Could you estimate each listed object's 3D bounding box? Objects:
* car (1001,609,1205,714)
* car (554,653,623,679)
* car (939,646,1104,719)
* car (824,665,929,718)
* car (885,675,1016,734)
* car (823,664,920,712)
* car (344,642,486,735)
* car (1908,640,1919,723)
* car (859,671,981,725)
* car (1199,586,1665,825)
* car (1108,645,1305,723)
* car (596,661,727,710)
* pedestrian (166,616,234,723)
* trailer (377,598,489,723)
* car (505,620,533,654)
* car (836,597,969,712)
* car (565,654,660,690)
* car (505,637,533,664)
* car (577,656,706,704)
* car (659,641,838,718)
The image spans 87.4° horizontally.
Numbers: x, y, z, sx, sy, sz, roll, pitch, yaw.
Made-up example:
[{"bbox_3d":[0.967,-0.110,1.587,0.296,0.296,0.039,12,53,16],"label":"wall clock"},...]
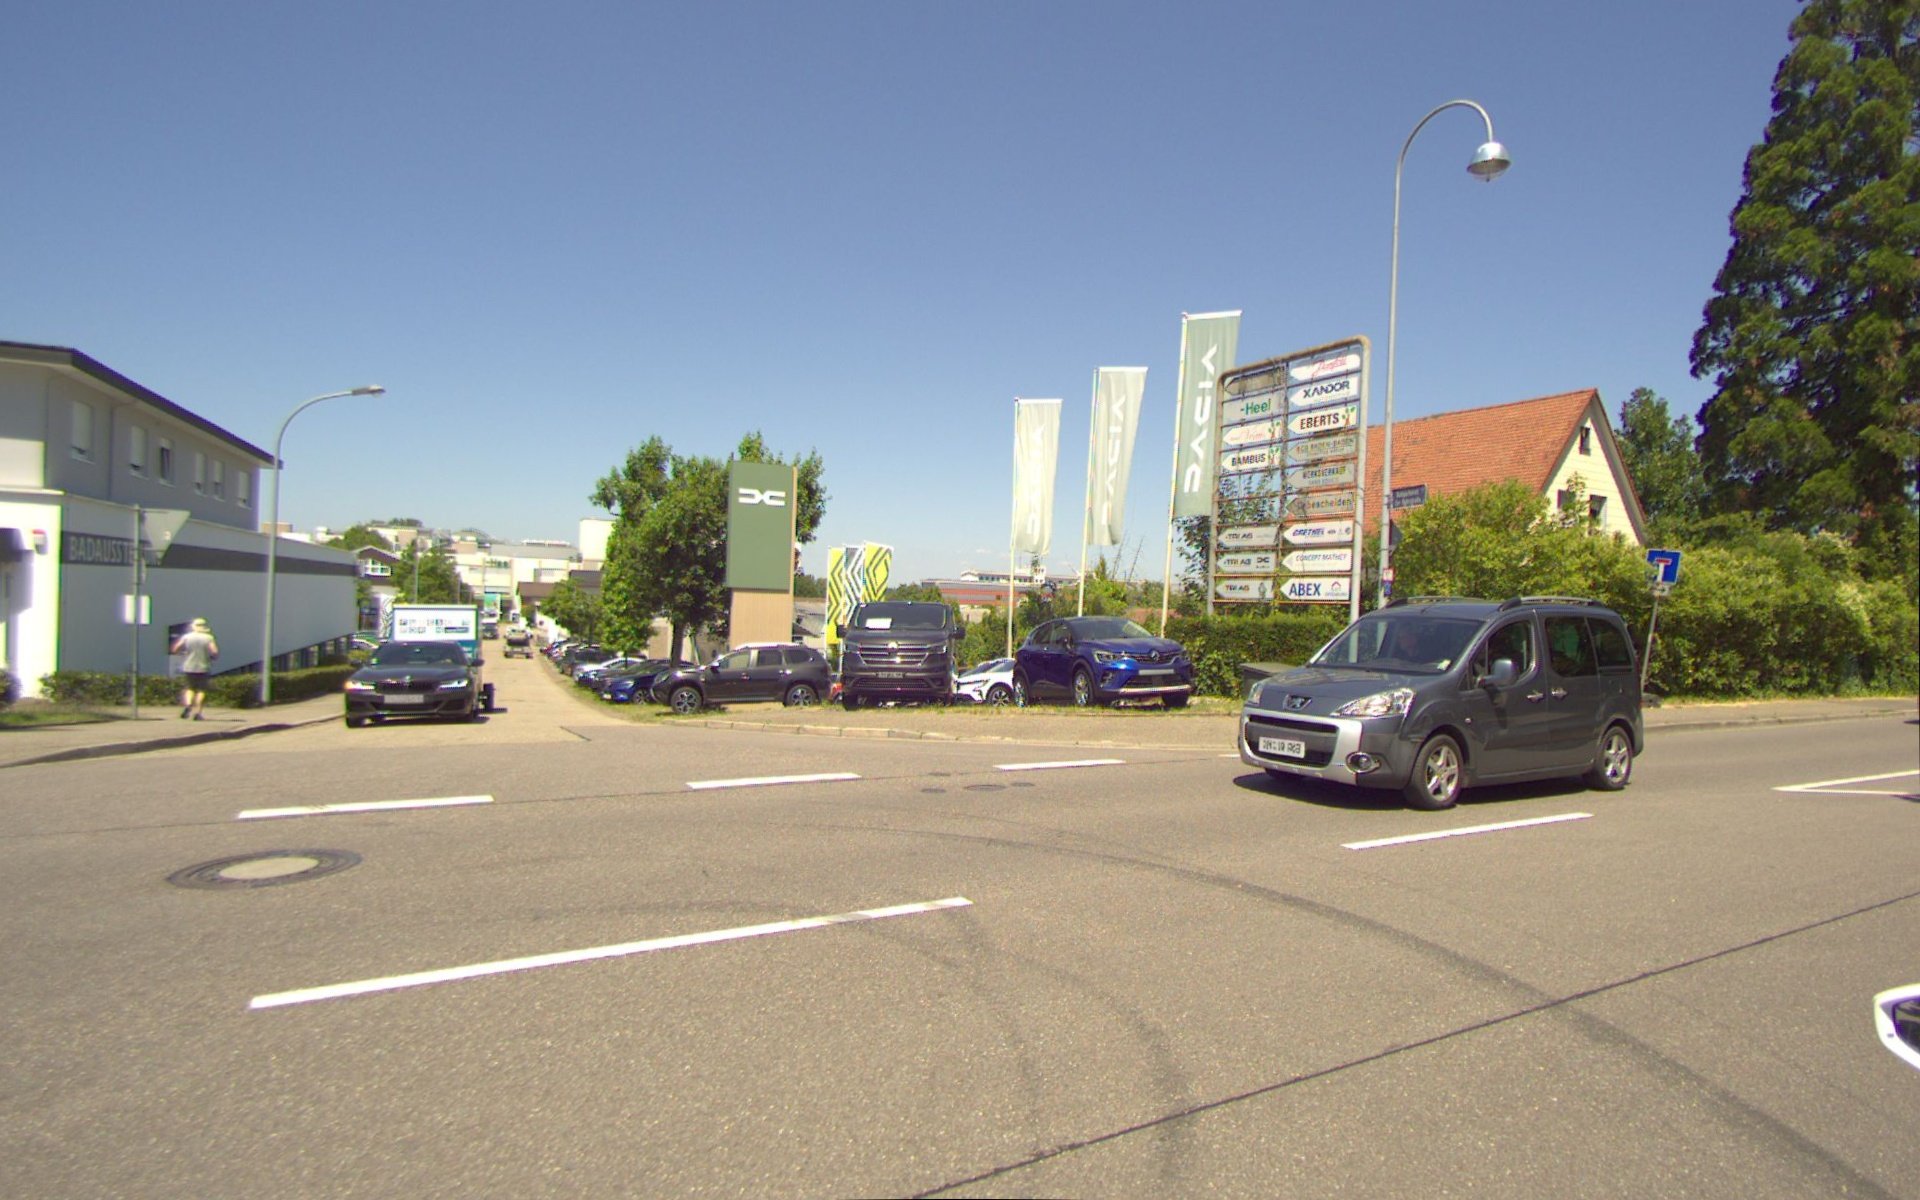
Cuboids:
[{"bbox_3d":[2.231,0.959,16.890,1.749,1.524,4.132,0,-2,-18],"label":"car"},{"bbox_3d":[-23.113,4.084,62.491,3.945,1.506,1.748,2,-1,-24],"label":"car"},{"bbox_3d":[1.643,2.195,27.034,4.031,1.744,1.804,2,0,-23],"label":"car"},{"bbox_3d":[-3.205,3.504,39.255,1.786,1.744,4.072,2,0,38],"label":"car"},{"bbox_3d":[-0.298,3.497,34.005,4.040,1.744,1.800,2,0,-30],"label":"car"},{"bbox_3d":[-3.727,3.706,42.778,1.786,1.744,4.072,2,0,38],"label":"car"},{"bbox_3d":[-9.557,1.498,17.958,1.892,1.405,4.941,2,-4,-25],"label":"car"},{"bbox_3d":[20.189,1.603,19.273,4.265,1.557,1.785,2,-1,-31],"label":"car"},{"bbox_3d":[-1.438,3.509,36.589,4.039,1.744,1.801,2,0,-28],"label":"car"},{"bbox_3d":[4.548,0.833,9.479,4.518,1.785,1.802,1,-1,-31],"label":"car"},{"bbox_3d":[5.297,1.798,22.035,4.012,1.411,1.679,2,0,9],"label":"car"},{"bbox_3d":[-9.874,2.791,33.388,3.839,1.434,1.633,2,-1,-42],"label":"car"},{"bbox_3d":[-12.996,1.168,17.189,0.688,1.785,0.545,1,-1,-1],"label":"pedestrian"},{"bbox_3d":[-11.689,1.349,22.582,1.914,2.436,5.336,2,-4,-25],"label":"trailer"},{"bbox_3d":[-42.257,3.468,96.312,2.212,3.029,6.311,2,-1,-23],"label":"car"},{"bbox_3d":[-0.899,0.907,18.204,2.022,1.750,4.458,-3,-1,1],"label":"car"},{"bbox_3d":[-15.915,3.298,46.036,3.945,1.506,1.748,2,-1,-24],"label":"car"},{"bbox_3d":[-37.628,4.269,85.723,2.054,2.083,3.978,2,-1,-23],"label":"car"},{"bbox_3d":[-11.250,2.784,35.623,3.970,1.506,1.737,2,-1,-42],"label":"car"},{"bbox_3d":[-5.075,1.918,24.195,4.019,1.744,1.810,2,-3,-14],"label":"car"}]
